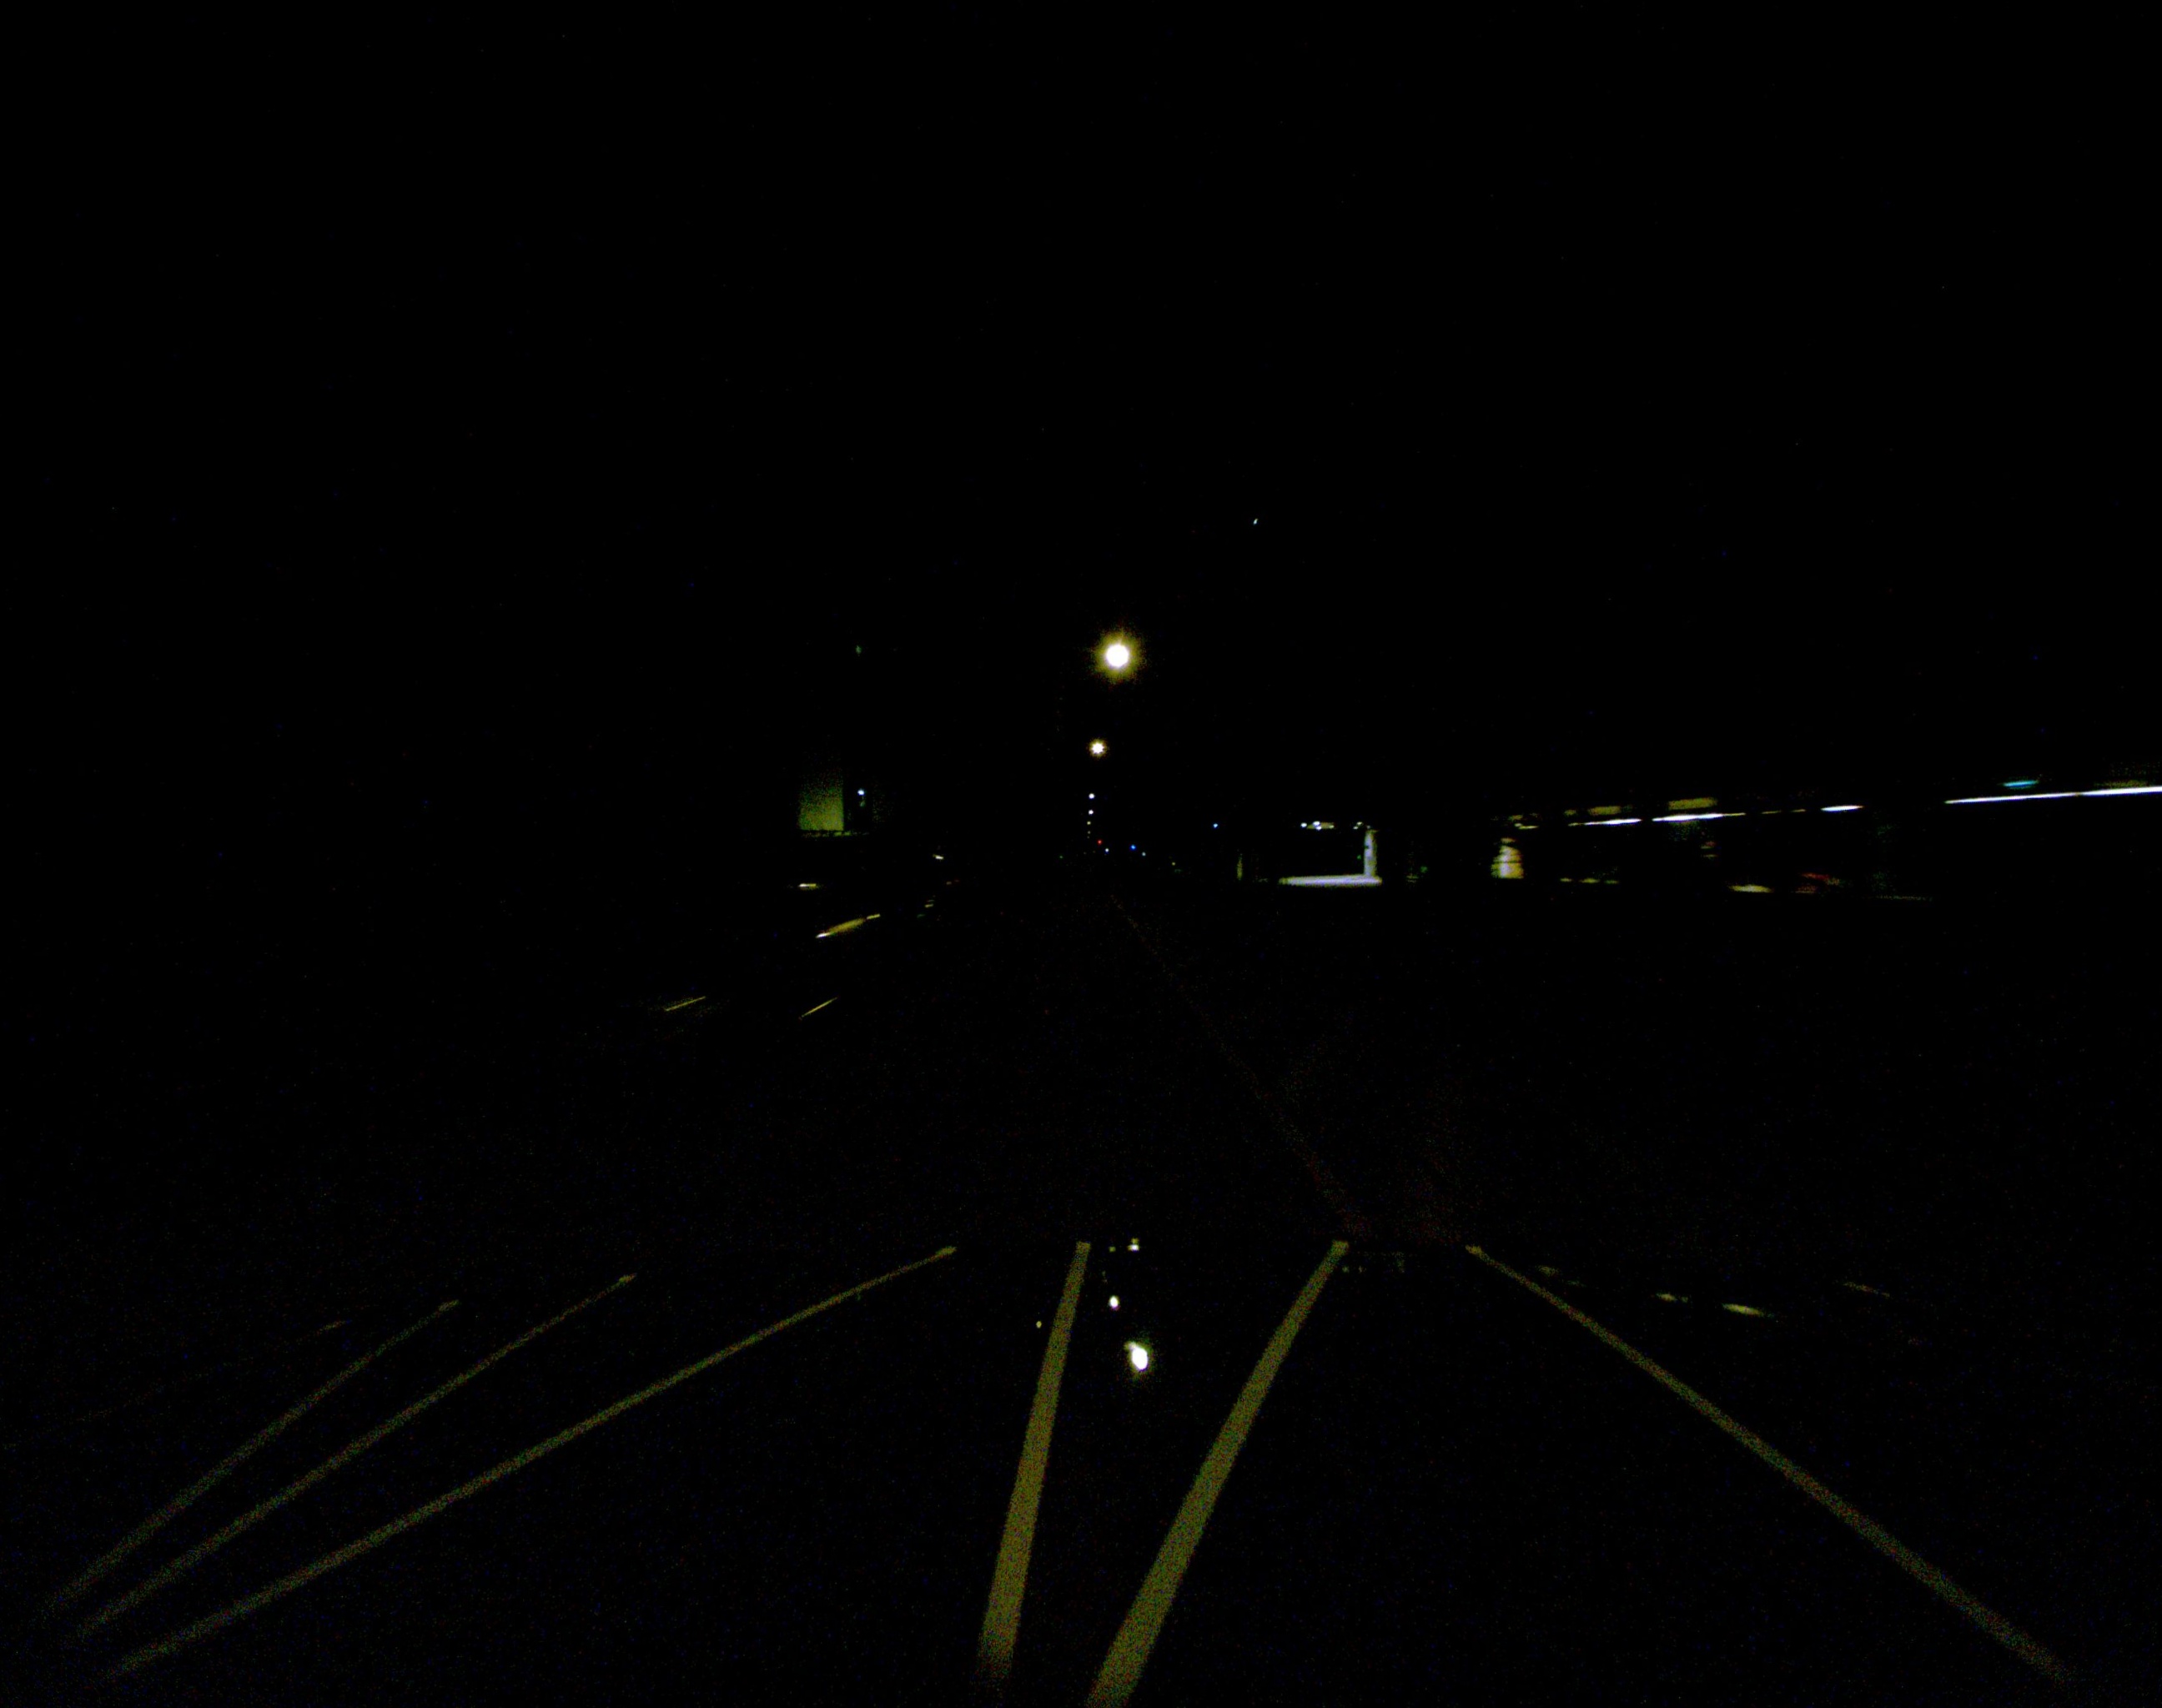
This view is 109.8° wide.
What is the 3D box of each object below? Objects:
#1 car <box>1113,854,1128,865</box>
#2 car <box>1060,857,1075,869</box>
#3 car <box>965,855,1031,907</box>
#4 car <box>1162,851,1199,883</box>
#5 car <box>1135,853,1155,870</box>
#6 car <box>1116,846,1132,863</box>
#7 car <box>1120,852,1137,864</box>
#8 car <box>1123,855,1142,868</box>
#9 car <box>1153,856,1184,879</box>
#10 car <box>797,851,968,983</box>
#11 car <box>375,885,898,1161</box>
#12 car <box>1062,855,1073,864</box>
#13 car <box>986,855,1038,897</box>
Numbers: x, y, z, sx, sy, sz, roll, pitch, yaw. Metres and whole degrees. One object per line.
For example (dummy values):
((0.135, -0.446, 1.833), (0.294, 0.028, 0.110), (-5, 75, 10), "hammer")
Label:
((5.645, 0.791, 108.279), (1.826, 1.423, 3.731), (-3, 0, -1), "car")
((-1.691, 1.120, 98.600), (1.826, 1.423, 3.731), (-3, 0, -1), "car")
((-2.836, 0.900, 26.717), (1.934, 1.655, 3.773), (1, 0, -1), "car")
((6.102, 0.761, 47.037), (1.882, 1.798, 3.732), (-3, 0, 2), "car")
((6.300, 0.719, 74.994), (1.826, 1.637, 3.732), (1, 0, 2), "car")
((6.719, 0.033, 119.705), (2.005, 2.493, 4.953), (-3, 0, -1), "car")
((6.152, 0.532, 98.135), (1.826, 1.423, 3.731), (-3, 0, -1), "car")
((6.032, 0.898, 89.530), (1.826, 1.423, 3.731), (-3, 0, -1), "car")
((6.037, 0.928, 52.940), (1.826, 1.423, 3.732), (-3, 0, 2), "car")
((-3.006, 0.854, 12.486), (1.781, 1.762, 4.421), (1, 0, -2), "car")
((-3.082, 1.053, 6.546), (1.780, 1.351, 4.423), (1, 0, 2), "car")
((-2.318, 0.999, 129.280), (1.826, 1.423, 3.731), (-3, 0, -1), "car")
((-2.916, 0.900, 32.863), (1.934, 1.655, 4.094), (1, 0, -1), "car")
